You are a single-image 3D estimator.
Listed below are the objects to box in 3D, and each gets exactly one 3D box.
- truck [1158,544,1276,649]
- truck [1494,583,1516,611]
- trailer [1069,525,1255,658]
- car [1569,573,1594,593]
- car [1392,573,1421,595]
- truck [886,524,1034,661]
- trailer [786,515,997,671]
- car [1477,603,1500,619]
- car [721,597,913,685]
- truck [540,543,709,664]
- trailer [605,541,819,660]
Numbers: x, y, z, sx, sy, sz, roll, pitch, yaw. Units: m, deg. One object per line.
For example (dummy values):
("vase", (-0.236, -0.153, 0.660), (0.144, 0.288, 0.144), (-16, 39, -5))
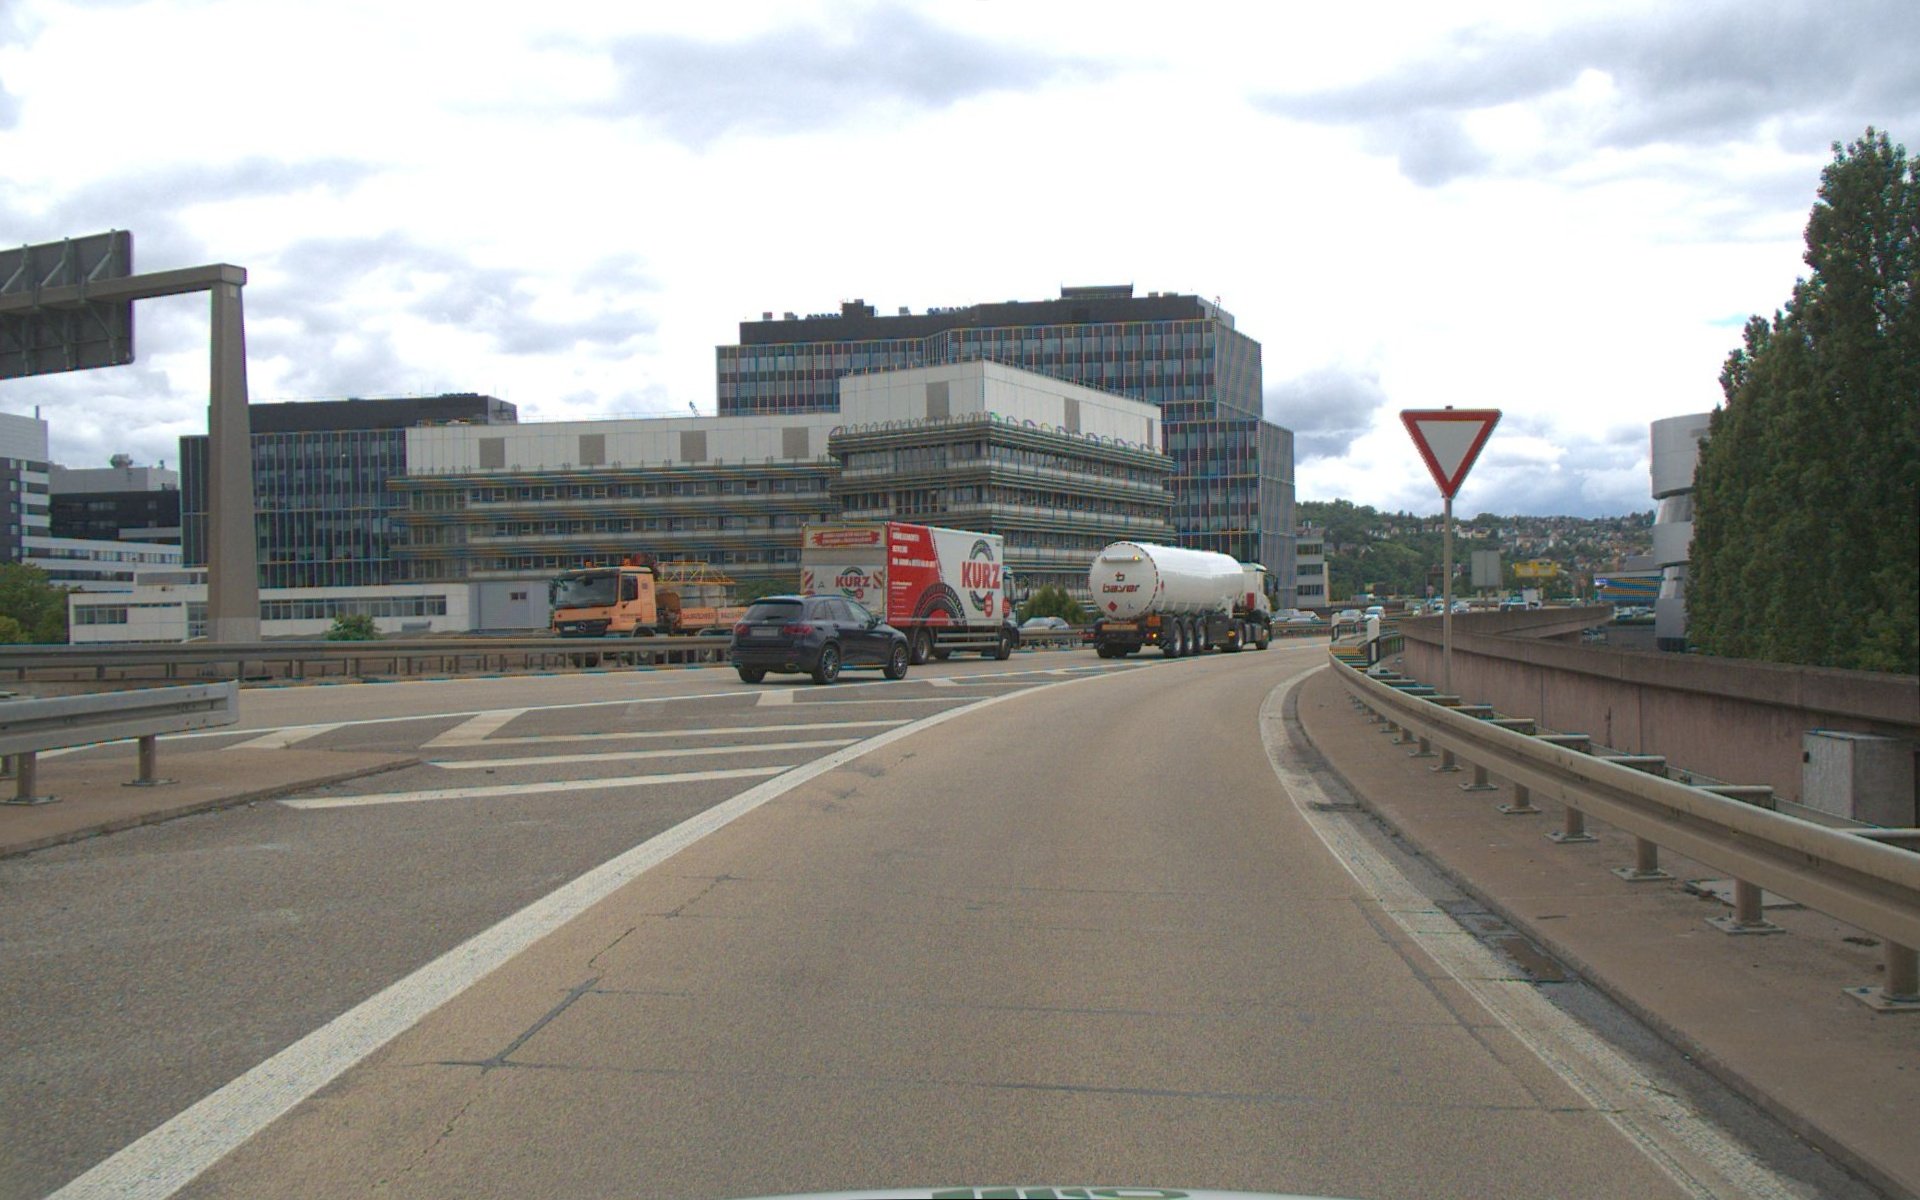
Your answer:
("truck", (9.264, -0.101, 59.122), (2.713, 3.490, 5.963), (-2, -1, 23))
("truck", (79.995, -0.475, 242.800), (2.347, 3.961, 5.940), (-2, -1, 24))
("trailer", (6.779, -0.249, 53.502), (2.736, 3.803, 11.149), (-2, -1, 24))
("car", (53.622, -1.483, 142.625), (1.661, 1.578, 3.638), (-2, -2, 26))
("car", (38.959, -1.404, 144.273), (1.610, 1.254, 4.283), (-8, 4, 26))
("truck", (0.057, -0.193, 48.049), (2.637, 3.755, 4.437), (-2, -1, 24))
("trailer", (-1.654, -0.156, 44.159), (2.636, 3.755, 7.310), (-2, -1, 24))
("car", (53.846, 1.101, 168.492), (1.952, 1.565, 4.000), (0, -1, 21))
("car", (-2.646, 0.743, 31.693), (1.810, 1.531, 4.263), (1, 0, 24))
("truck", (-10.360, 0.115, 51.547), (2.686, 3.541, 5.104), (-2, -1, 23))
("trailer", (-8.238, 0.021, 56.549), (2.679, 3.700, 9.353), (-2, -1, 23))
